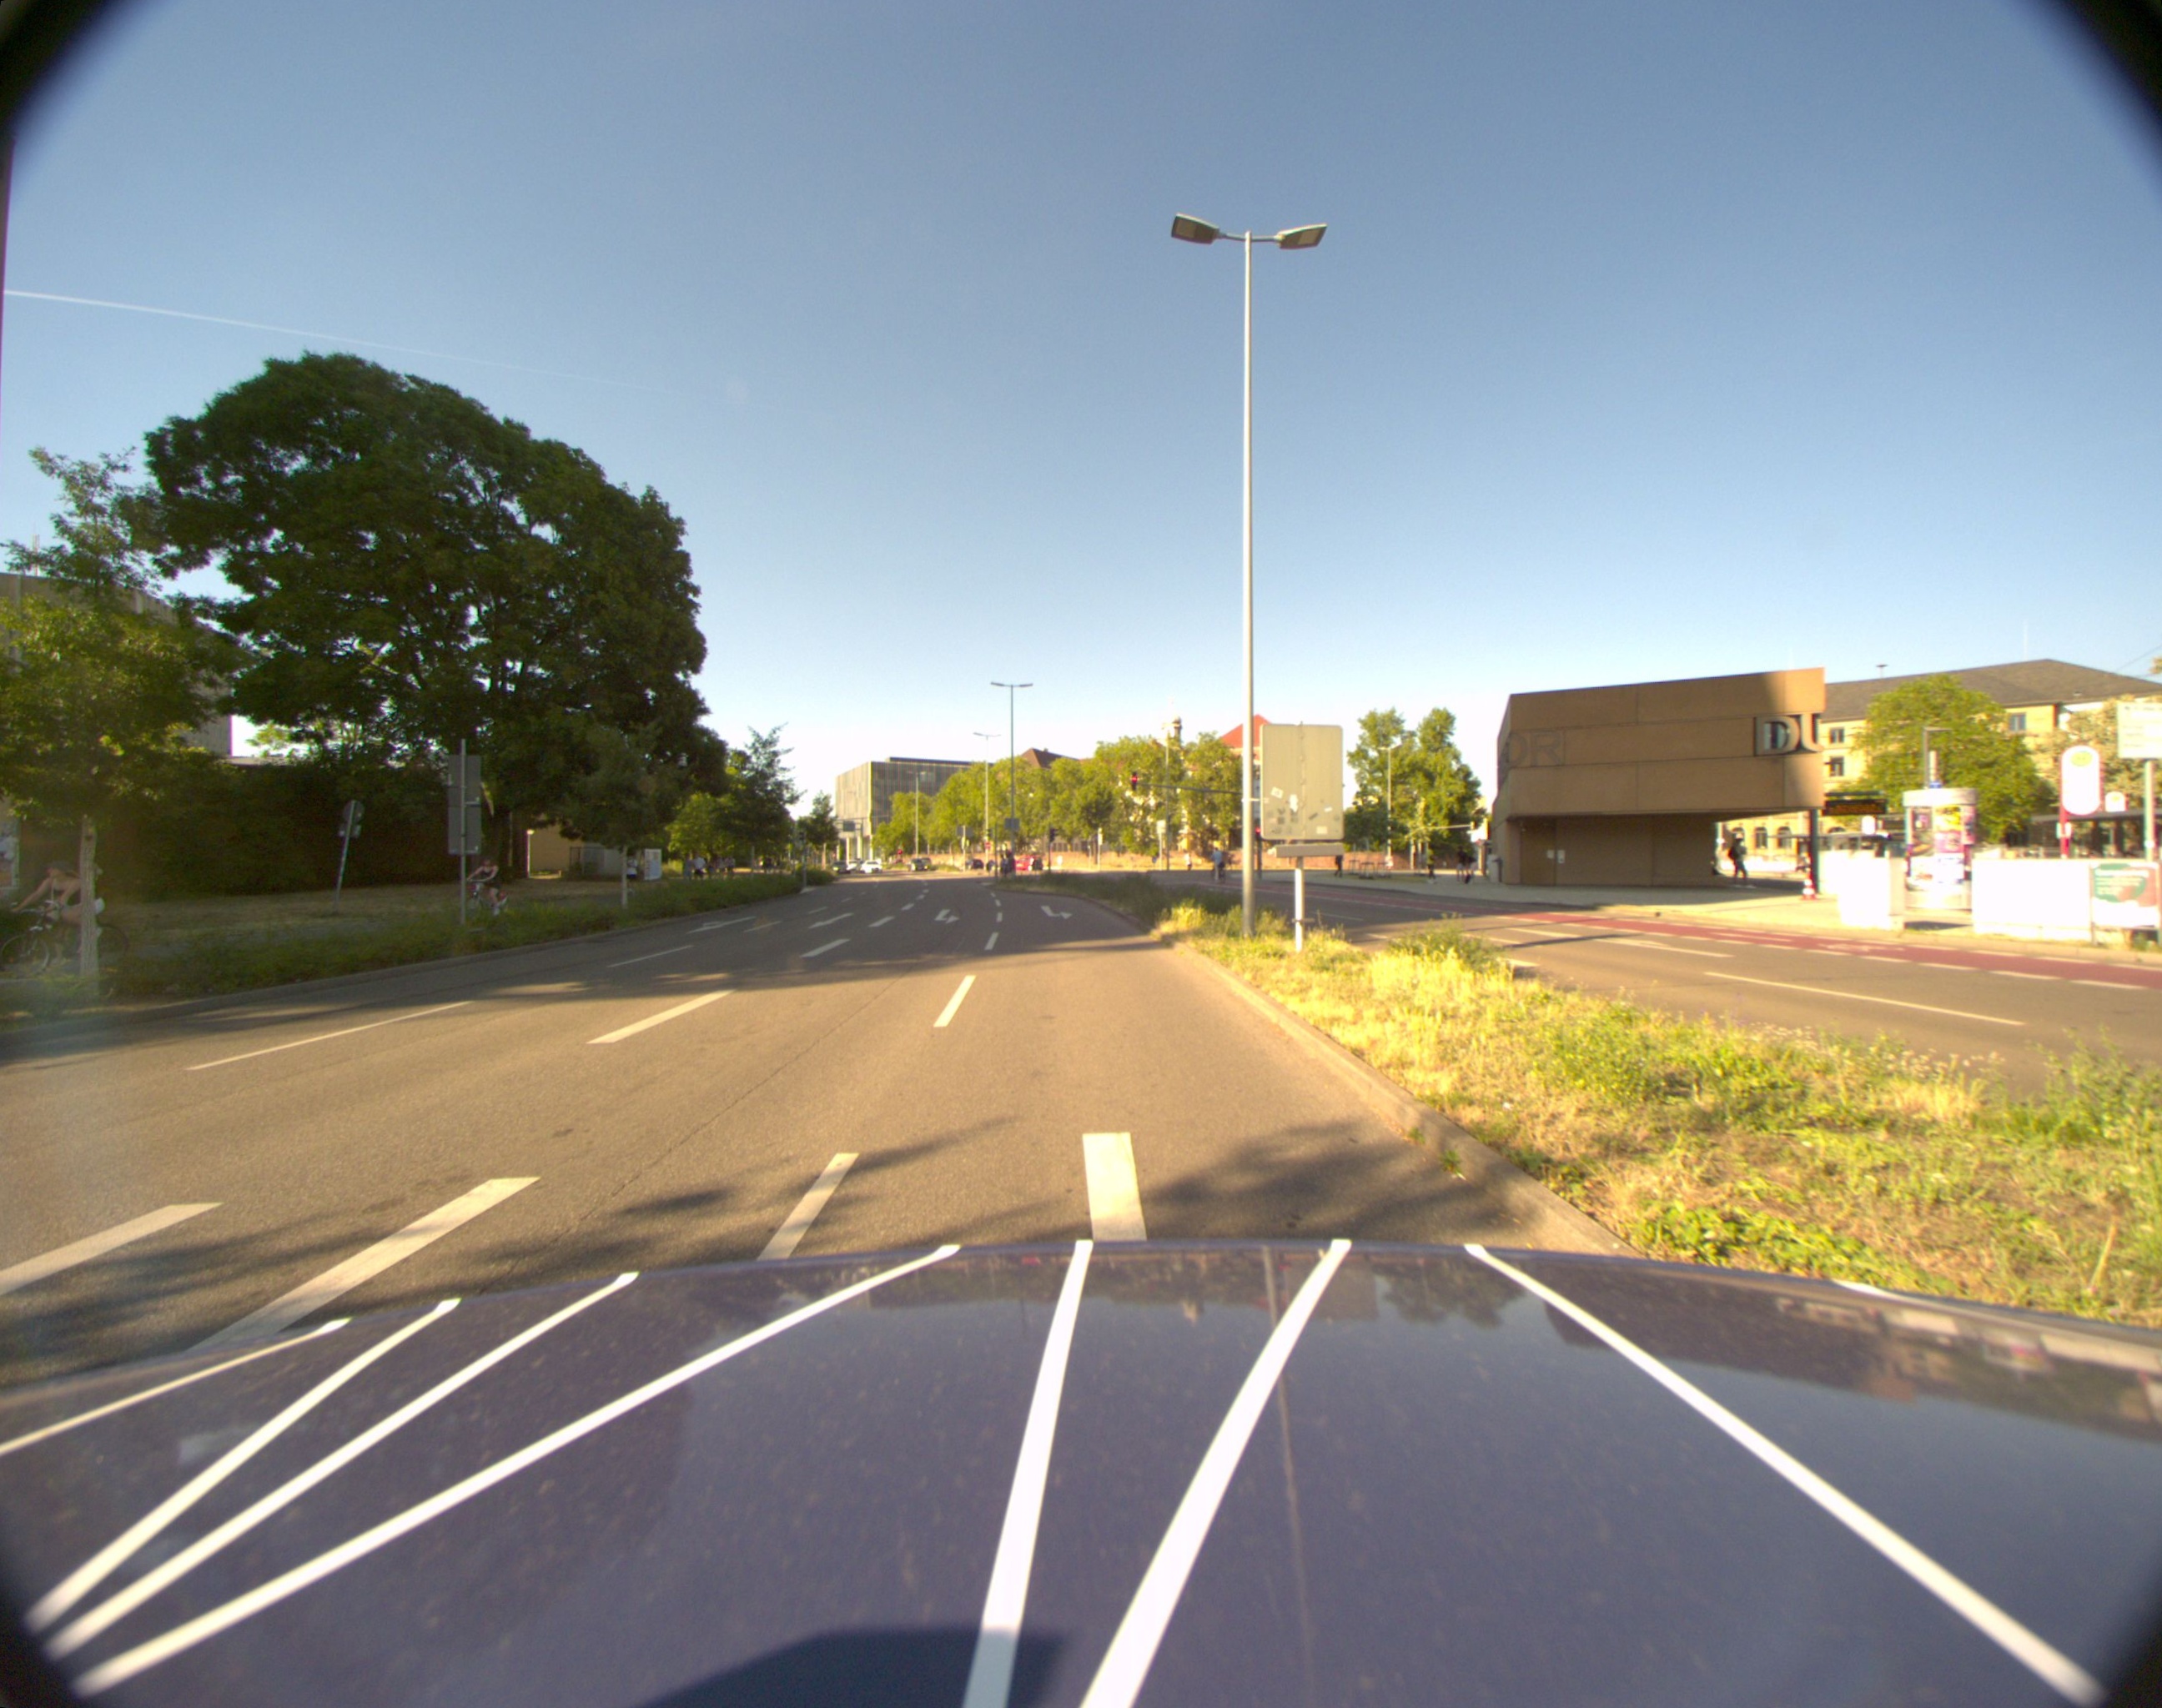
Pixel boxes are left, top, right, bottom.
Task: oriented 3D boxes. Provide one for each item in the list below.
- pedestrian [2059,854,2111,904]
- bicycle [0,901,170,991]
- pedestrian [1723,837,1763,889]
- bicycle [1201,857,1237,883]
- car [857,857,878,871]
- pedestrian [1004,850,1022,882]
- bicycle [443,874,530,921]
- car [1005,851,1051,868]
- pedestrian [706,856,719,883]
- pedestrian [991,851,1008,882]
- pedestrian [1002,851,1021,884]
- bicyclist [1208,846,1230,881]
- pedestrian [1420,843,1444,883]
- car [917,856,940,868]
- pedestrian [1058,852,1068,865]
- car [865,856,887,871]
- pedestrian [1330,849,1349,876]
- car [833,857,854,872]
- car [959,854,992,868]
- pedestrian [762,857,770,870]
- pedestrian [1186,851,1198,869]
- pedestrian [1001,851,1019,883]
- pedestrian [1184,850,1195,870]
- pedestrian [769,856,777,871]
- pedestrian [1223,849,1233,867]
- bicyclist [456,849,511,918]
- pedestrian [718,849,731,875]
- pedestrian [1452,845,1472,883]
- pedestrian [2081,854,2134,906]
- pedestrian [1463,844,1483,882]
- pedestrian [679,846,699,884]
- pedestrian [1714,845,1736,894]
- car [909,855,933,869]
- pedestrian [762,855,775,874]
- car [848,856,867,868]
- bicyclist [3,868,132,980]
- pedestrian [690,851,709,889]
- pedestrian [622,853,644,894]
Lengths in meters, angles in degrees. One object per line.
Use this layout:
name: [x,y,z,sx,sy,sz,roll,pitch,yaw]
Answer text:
pedestrian: [40.281,1.001,30.496,0.994,1.970,0.831,1,0,29]
bicycle: [-14.599,1.281,10.937,0.719,1.114,1.869,-1,-1,1]
pedestrian: [25.474,0.326,29.243,0.978,1.970,0.720,1,0,26]
bicycle: [7.223,0.815,39.949,0.743,1.248,2.552,-1,1,-18]
car: [-25.002,1.169,88.965,1.927,1.510,4.010,0,0,-22]
pedestrian: [-3.742,0.669,41.648,0.928,1.731,0.787,0,1,-10]
bicycle: [-16.016,1.152,20.540,0.719,1.115,2.066,-2,1,-1]
car: [-5.448,0.547,77.662,2.200,1.576,4.594,0,-2,-44]
pedestrian: [-21.127,0.891,43.584,0.623,1.565,0.638,0,1,-25]
pedestrian: [-4.582,0.701,42.652,0.928,1.731,0.756,0,1,-10]
pedestrian: [-3.663,0.688,40.022,0.928,1.731,0.756,0,1,-10]
bicyclist: [7.221,0.498,39.903,0.743,1.821,1.012,-1,1,-18]
pedestrian: [16.042,0.418,34.733,0.718,1.824,0.639,-1,-1,1]
car: [-21.718,1.086,108.045,2.198,1.674,4.597,0,0,-24]
pedestrian: [-2.121,0.560,89.771,0.975,1.528,0.921,0,1,-25]
car: [-22.235,1.041,82.177,1.805,1.510,4.423,0,0,-22]
pedestrian: [16.411,0.513,48.181,0.900,1.675,0.747,0,0,-10]
car: [-24.882,1.107,79.578,1.805,1.510,3.992,0,0,-22]
car: [-13.086,0.846,93.954,2.199,1.576,4.595,0,-2,-35]
pedestrian: [-36.502,1.126,87.952,0.764,1.534,0.845,0,0,-31]
pedestrian: [10.629,0.547,72.635,0.873,1.665,0.711,0,4,-12]
pedestrian: [-3.816,0.683,40.798,0.928,1.731,0.756,0,1,-10]
pedestrian: [10.510,0.577,73.694,0.873,1.884,0.711,0,4,-12]
pedestrian: [-34.037,1.066,84.003,0.713,1.703,0.732,0,1,-25]
pedestrian: [13.964,0.360,72.171,0.791,1.644,0.713,2,4,17]
bicyclist: [-16.027,0.781,20.410,0.717,1.778,0.849,-2,1,-1]
pedestrian: [-23.445,0.525,50.005,0.677,1.694,0.875,0,1,-30]
pedestrian: [17.094,0.474,34.096,0.638,1.678,0.551,-2,-1,14]
pedestrian: [39.249,0.985,29.056,0.978,1.970,0.720,1,0,29]
pedestrian: [17.947,0.424,34.770,0.734,1.720,0.666,-2,-1,25]
pedestrian: [-19.395,0.559,37.604,0.575,1.858,0.624,0,1,26]
pedestrian: [26.691,0.628,31.507,0.613,2.001,0.809,-2,-1,37]
car: [-17.725,0.852,83.834,1.927,1.510,4.010,0,0,-22]
pedestrian: [-28.746,0.995,69.930,1.020,1.739,0.847,0,0,-31]
car: [-27.944,0.989,94.966,1.927,1.510,4.010,0,0,-22]
bicyclist: [-14.609,0.983,10.979,0.717,1.539,0.850,-1,-1,1]
pedestrian: [-18.875,0.807,37.593,0.575,1.858,0.624,0,1,26]
pedestrian: [-18.655,0.819,31.632,0.623,1.689,0.629,0,1,-17]
